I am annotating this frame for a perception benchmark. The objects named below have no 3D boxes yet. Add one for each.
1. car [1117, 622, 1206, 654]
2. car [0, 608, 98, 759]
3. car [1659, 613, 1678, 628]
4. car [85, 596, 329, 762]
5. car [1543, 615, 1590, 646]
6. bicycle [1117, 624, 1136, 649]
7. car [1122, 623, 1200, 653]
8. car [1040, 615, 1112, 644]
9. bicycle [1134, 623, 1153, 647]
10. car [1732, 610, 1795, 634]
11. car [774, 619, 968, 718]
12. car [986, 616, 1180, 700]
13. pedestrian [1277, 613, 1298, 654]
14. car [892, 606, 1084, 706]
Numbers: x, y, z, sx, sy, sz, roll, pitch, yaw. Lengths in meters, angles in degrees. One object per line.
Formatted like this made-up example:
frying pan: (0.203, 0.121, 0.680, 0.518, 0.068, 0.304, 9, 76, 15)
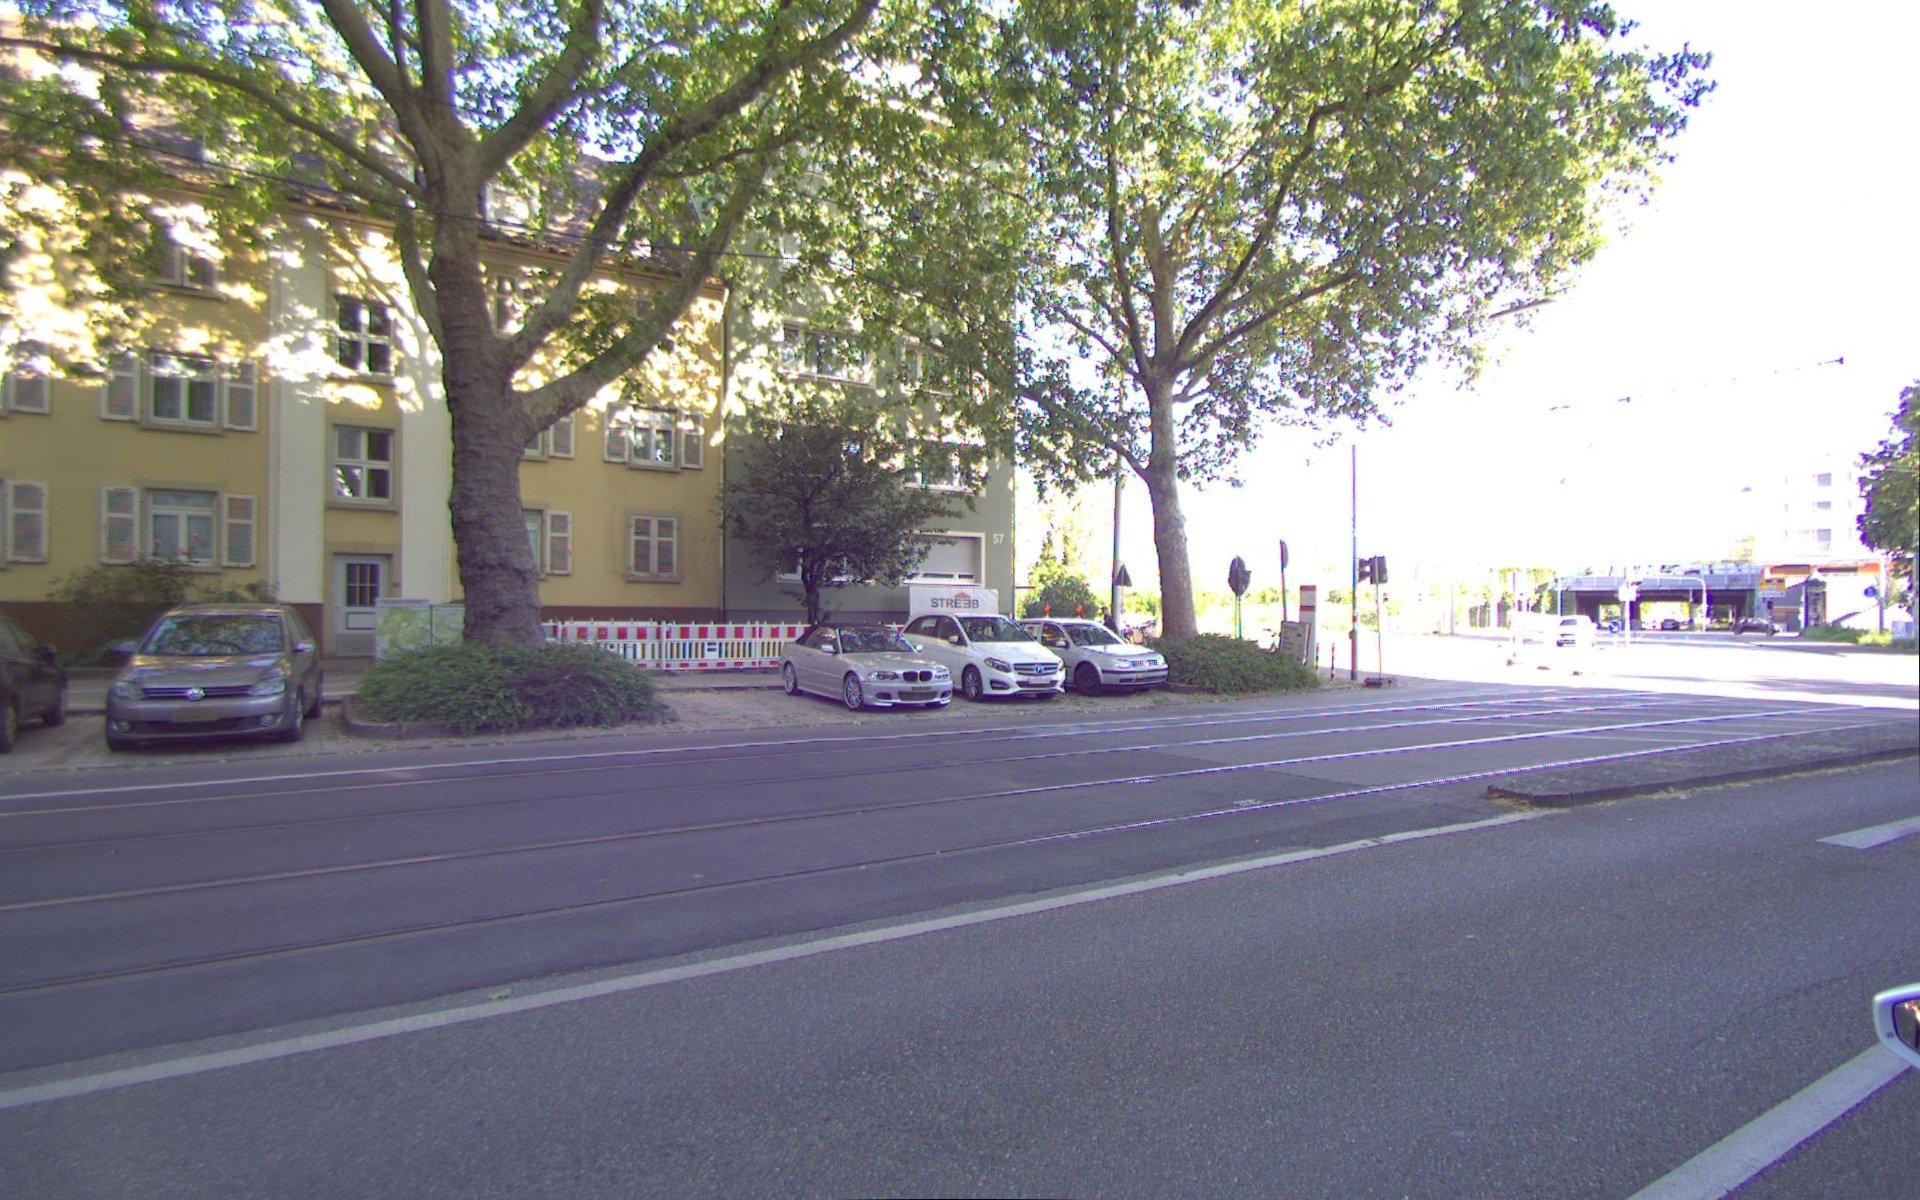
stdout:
car: (10.810, 2.003, 53.808, 4.227, 1.551, 2.093, 2, 0, 28)
car: (-11.411, 0.863, 11.419, 1.673, 1.466, 3.834, 2, 0, -29)
car: (97.374, 2.841, 138.070, 1.966, 2.040, 3.989, 2, 0, 34)
car: (-8.974, 0.813, 12.330, 1.822, 1.641, 4.052, 2, 0, -29)
car: (33.569, 1.641, 55.703, 1.963, 1.653, 4.624, 0, -1, 28)
bicycle: (5.373, 1.158, 32.367, 0.351, 0.769, 1.781, 0, -1, 18)
car: (11.549, 2.146, 57.705, 3.933, 1.439, 1.887, 0, 5, 35)
car: (7.049, 1.756, 61.043, 3.933, 1.439, 1.887, 0, 5, 35)
bicycle: (6.284, 1.194, 34.434, 0.351, 0.769, 1.781, 0, -1, 1)
car: (72.185, 1.936, 90.310, 1.974, 2.040, 3.972, 2, 0, -27)
car: (-1.656, 1.087, 17.284, 1.822, 1.387, 4.052, 2, 0, -29)
car: (2.409, 1.117, 20.557, 1.688, 1.436, 3.960, 2, 0, -36)
pedestrian: (13.241, 1.357, 40.633, 0.591, 1.617, 0.682, 2, 0, 35)
car: (0.408, 0.985, 19.175, 1.822, 1.633, 4.052, 2, 0, -29)
